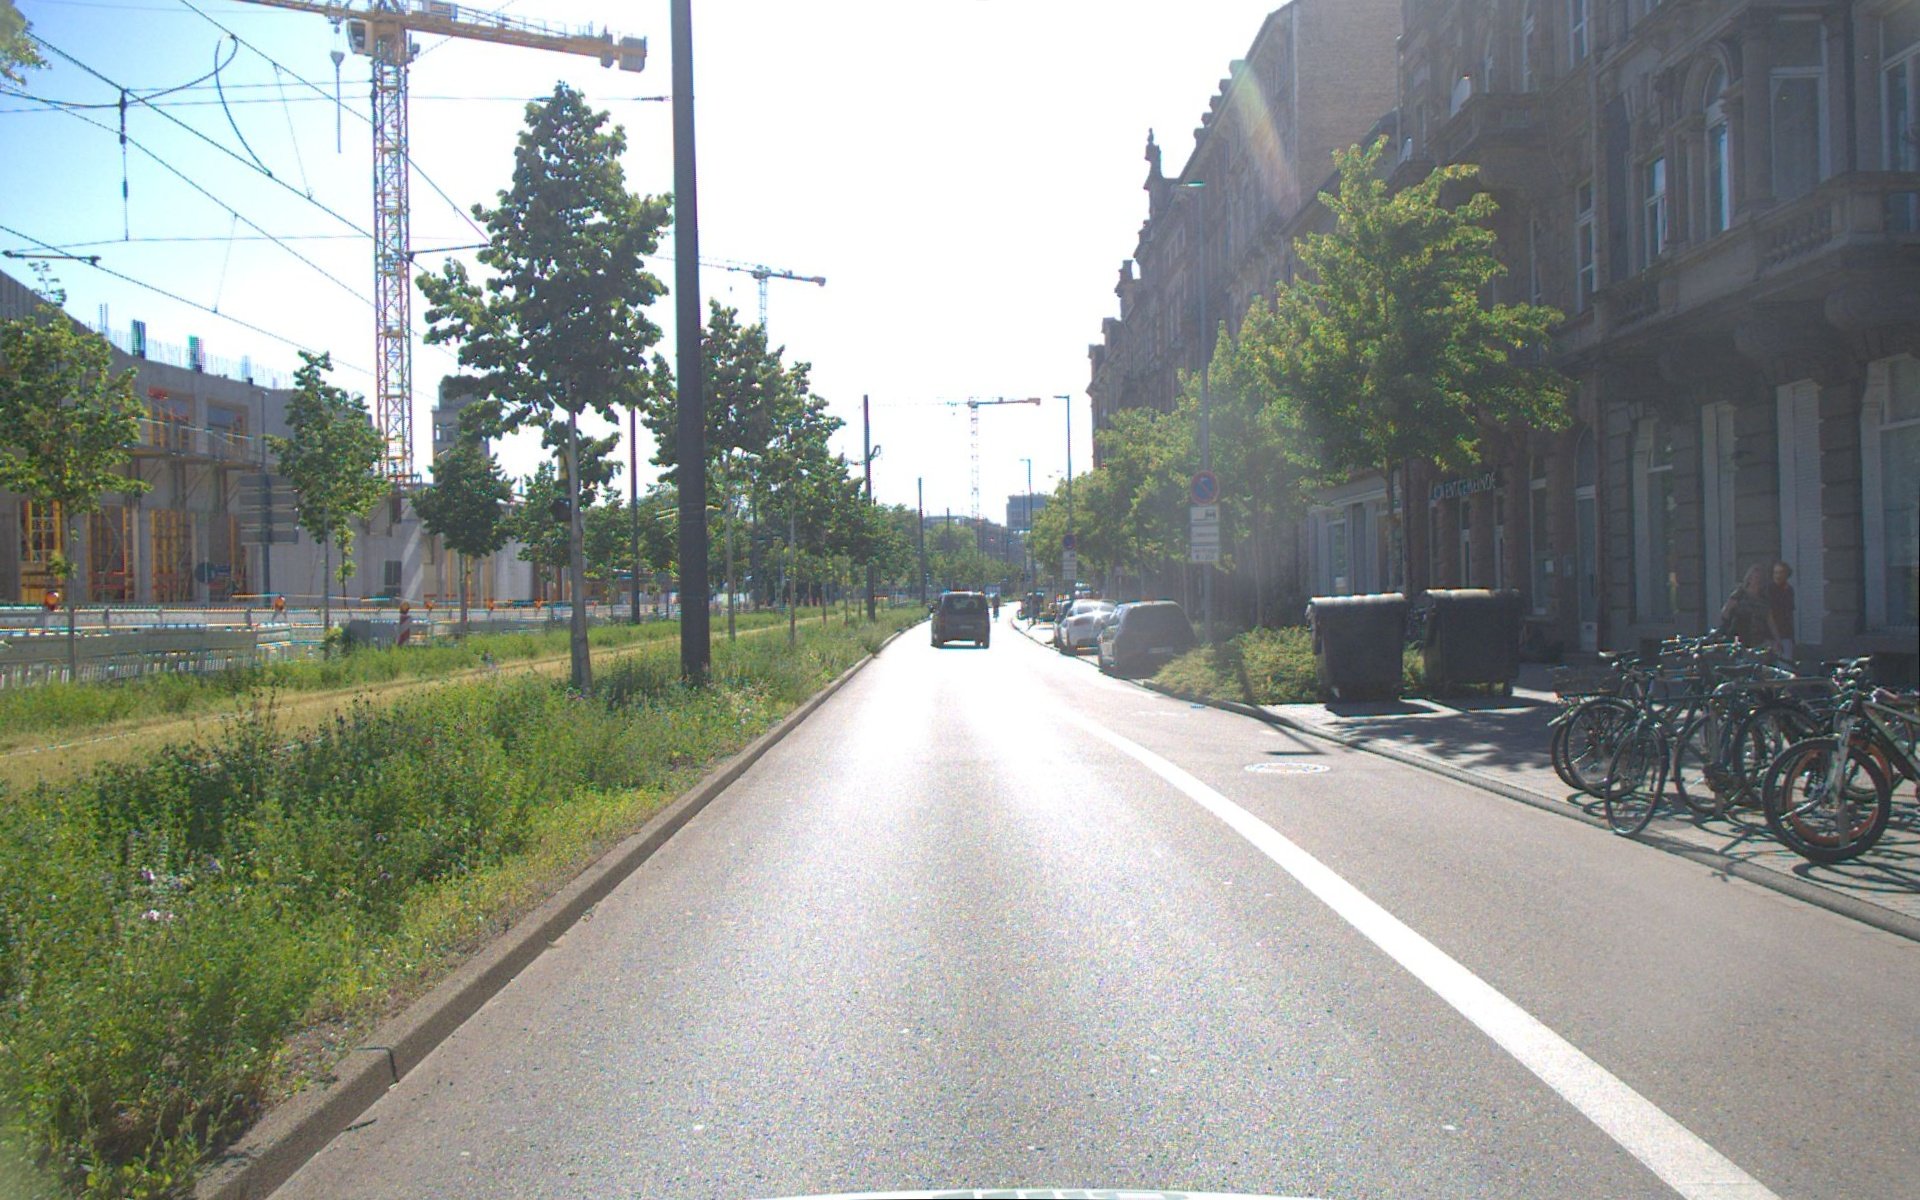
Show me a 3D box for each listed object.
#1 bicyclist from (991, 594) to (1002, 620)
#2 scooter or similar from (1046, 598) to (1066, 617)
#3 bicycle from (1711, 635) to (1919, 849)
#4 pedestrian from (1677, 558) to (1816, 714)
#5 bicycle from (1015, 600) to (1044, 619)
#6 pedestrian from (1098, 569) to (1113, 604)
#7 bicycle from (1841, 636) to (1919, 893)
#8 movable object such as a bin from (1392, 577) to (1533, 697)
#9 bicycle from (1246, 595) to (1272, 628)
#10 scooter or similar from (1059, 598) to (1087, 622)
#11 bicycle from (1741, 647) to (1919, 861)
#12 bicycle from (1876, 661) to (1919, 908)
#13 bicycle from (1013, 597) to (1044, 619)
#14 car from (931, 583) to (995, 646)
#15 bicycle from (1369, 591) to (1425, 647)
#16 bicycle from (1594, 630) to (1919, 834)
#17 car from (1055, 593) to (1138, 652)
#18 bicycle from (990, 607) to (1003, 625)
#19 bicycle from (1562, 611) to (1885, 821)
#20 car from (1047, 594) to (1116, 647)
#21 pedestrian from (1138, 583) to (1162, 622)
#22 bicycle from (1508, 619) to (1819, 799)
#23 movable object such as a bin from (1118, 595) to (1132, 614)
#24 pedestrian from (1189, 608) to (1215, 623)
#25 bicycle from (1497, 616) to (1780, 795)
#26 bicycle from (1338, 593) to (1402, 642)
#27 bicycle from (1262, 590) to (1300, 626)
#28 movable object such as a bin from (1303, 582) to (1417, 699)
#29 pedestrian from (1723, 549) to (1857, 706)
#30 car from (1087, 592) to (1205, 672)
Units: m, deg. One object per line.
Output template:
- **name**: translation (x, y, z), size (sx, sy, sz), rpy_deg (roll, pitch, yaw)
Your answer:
- **bicyclist**: translation (2.331, 0.435, 105.789), size (0.669, 1.612, 0.839), rpy_deg (-1, 0, -1)
- **scooter or similar**: translation (5.970, 0.485, 102.916), size (1.194, 1.125, 0.783), rpy_deg (-3, 1, 2)
- **bicycle**: translation (5.419, 0.783, 9.564), size (1.938, 1.127, 0.435), rpy_deg (-3, -1, -4)
- **pedestrian**: translation (8.462, 0.367, 17.831), size (0.931, 1.594, 1.080), rpy_deg (-2, 1, -1)
- **bicycle**: translation (4.506, 0.592, 107.286), size (1.790, 1.097, 0.664), rpy_deg (-4, 0, -7)
- **pedestrian**: translation (8.875, -0.814, 101.125), size (0.801, 2.049, 1.046), rpy_deg (0, -3, -1)
- **bicycle**: translation (5.330, 0.759, 8.101), size (1.829, 1.199, 0.373), rpy_deg (-2, -1, -4)
- **movable object such as a bin**: translation (6.950, 0.503, 23.012), size (1.345, 1.521, 1.749), rpy_deg (-4, -1, 0)
- **bicycle**: translation (10.226, 0.385, 56.579), size (0.471, 1.109, 2.056), rpy_deg (-2, 0, 0)
- **scooter or similar**: translation (6.299, 0.554, 92.179), size (1.445, 1.237, 0.601), rpy_deg (-3, 1, -4)
- **bicycle**: translation (5.381, 0.814, 9.220), size (1.780, 1.074, 0.571), rpy_deg (-3, -1, -7)
- **bicycle**: translation (5.356, 0.815, 7.746), size (1.855, 1.128, 0.517), rpy_deg (-3, -1, -6)
- **bicycle**: translation (4.387, 0.514, 105.750), size (1.843, 1.255, 0.499), rpy_deg (-4, 0, -6)
- **car**: translation (0.069, 0.501, 56.216), size (1.954, 2.049, 3.997), rpy_deg (0, -1, -3)
- **bicycle**: translation (10.034, 0.431, 38.031), size (0.733, 1.222, 1.800), rpy_deg (-2, -1, -1)
- **bicycle**: translation (5.260, 0.824, 10.727), size (2.247, 1.121, 0.484), rpy_deg (-3, 0, -16)
- **car**: translation (3.929, 0.629, 48.377), size (1.912, 1.521, 5.104), rpy_deg (-3, 0, 0)
- **bicycle**: translation (2.328, 0.989, 105.616), size (0.687, 1.110, 2.277), rpy_deg (-1, 0, -1)
- **bicycle**: translation (5.116, 0.749, 11.069), size (2.111, 1.174, 0.428), rpy_deg (-5, 0, -15)
- **car**: translation (4.003, 0.679, 55.113), size (1.846, 1.597, 4.219), rpy_deg (-4, -1, -1)
- **pedestrian**: translation (8.778, 0.110, 76.399), size (0.976, 1.762, 0.866), rpy_deg (0, -1, -1)
- **bicycle**: translation (5.154, 0.776, 12.154), size (2.005, 1.126, 0.610), rpy_deg (-4, 0, -7)
- **movable object such as a bin**: translation (9.723, 0.272, 97.580), size (0.711, 1.117, 0.747), rpy_deg (-1, 0, -5)
- **pedestrian**: translation (10.114, 0.636, 69.057), size (0.757, 0.562, 2.007), rpy_deg (-2, 1, -1)
- **bicycle**: translation (5.143, 0.783, 12.561), size (1.937, 1.143, 0.481), rpy_deg (-5, 1, -6)
- **bicycle**: translation (10.176, 0.426, 41.099), size (0.858, 1.124, 2.180), rpy_deg (-4, 0, -3)
- **bicycle**: translation (10.127, 0.244, 52.233), size (0.706, 1.109, 2.198), rpy_deg (-2, 0, 0)
- **movable object such as a bin**: translation (5.507, 0.535, 22.865), size (1.244, 1.488, 1.645), rpy_deg (-2, 2, 4)
- **pedestrian**: translation (9.270, 0.287, 18.512), size (0.951, 1.667, 0.992), rpy_deg (-2, 1, -1)
- **car**: translation (3.931, 0.676, 35.669), size (1.731, 1.502, 4.445), rpy_deg (-4, -1, -3)
